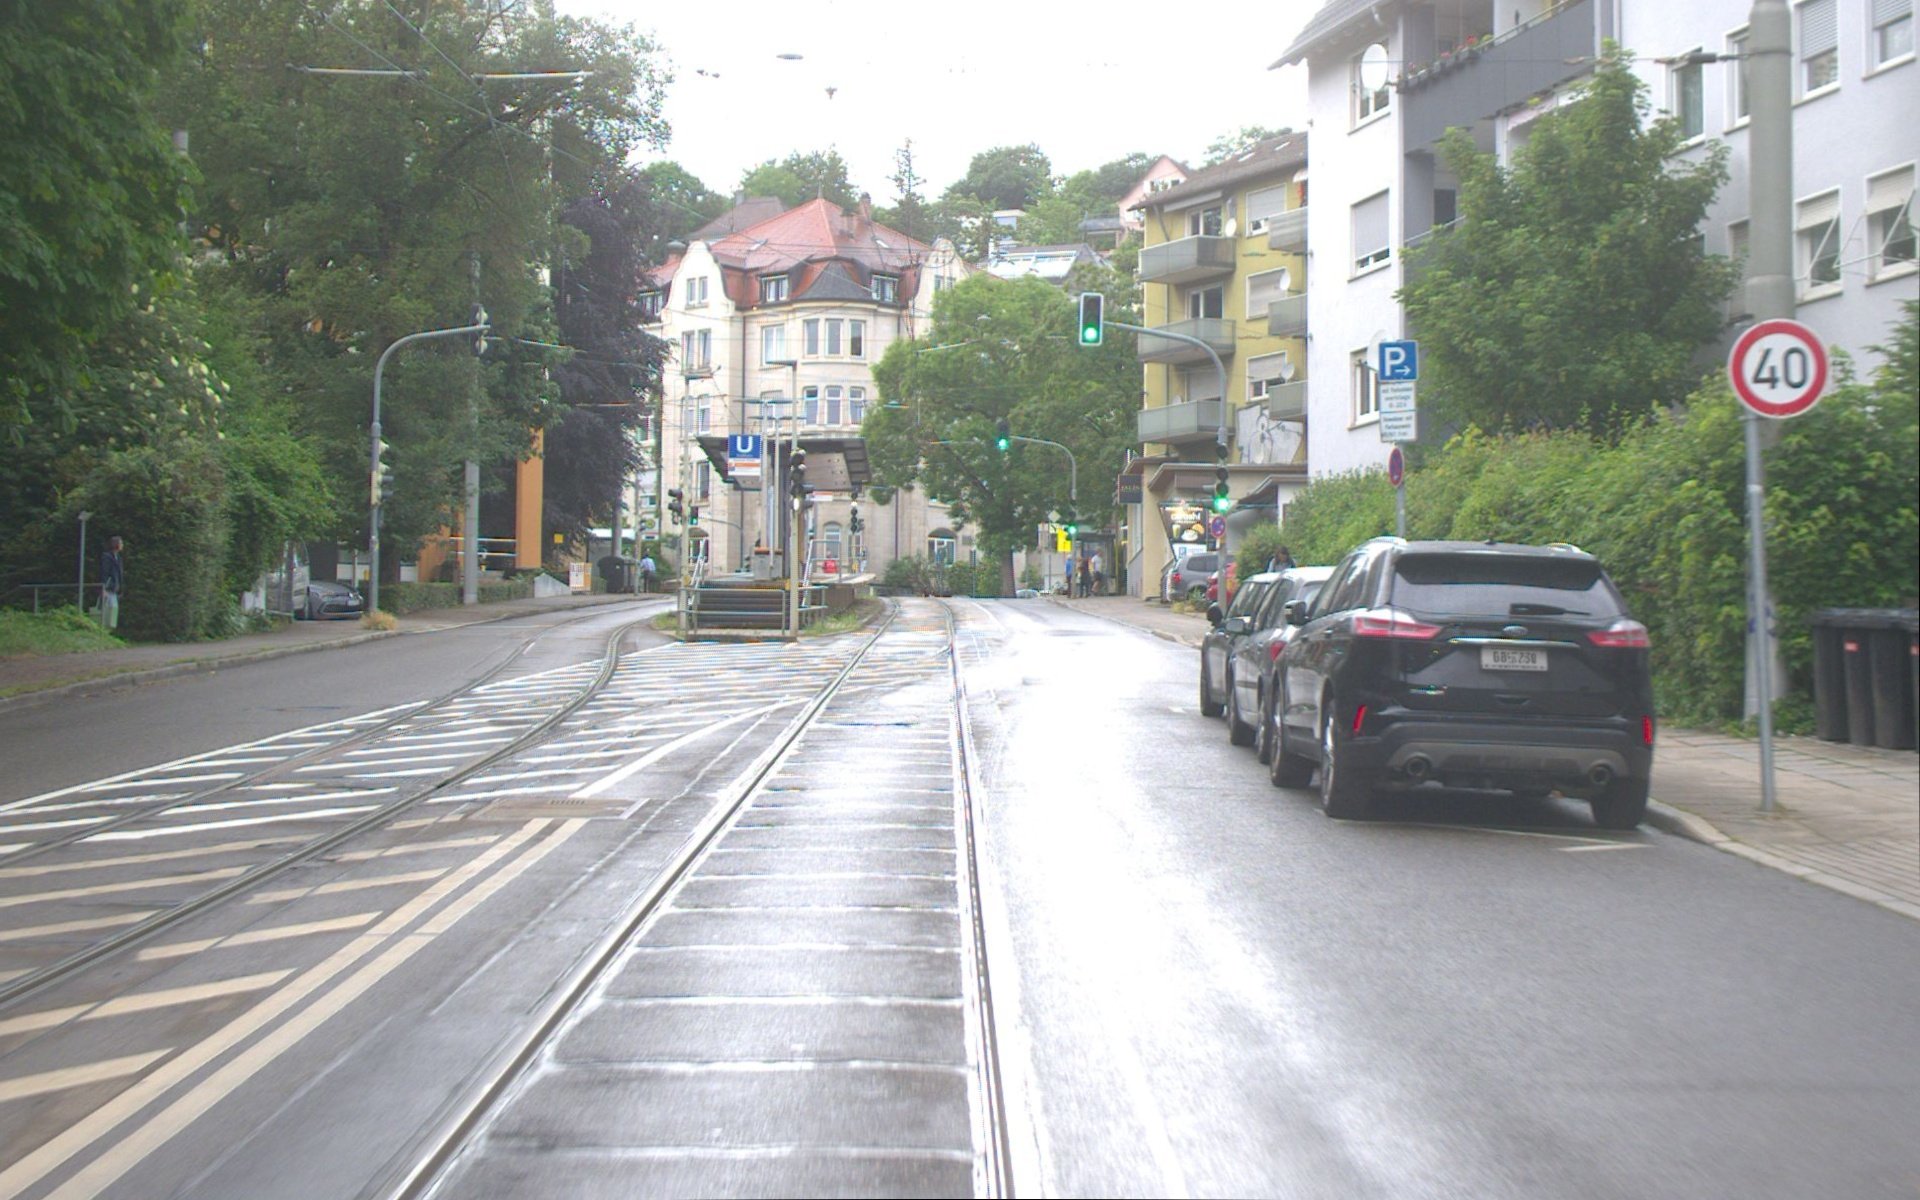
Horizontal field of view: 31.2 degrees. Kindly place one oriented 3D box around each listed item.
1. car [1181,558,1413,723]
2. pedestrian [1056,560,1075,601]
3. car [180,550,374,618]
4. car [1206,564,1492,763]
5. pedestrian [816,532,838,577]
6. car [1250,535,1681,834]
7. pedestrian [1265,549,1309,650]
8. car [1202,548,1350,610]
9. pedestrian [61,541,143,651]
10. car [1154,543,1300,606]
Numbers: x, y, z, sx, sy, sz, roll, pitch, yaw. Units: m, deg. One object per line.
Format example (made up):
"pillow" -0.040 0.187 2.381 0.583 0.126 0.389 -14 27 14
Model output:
"car" 3.150 0.359 32.802 1.704 1.421 3.862 2 0 -1
"pedestrian" 3.842 -0.710 124.978 0.578 1.462 0.544 2 -3 -8
"car" -15.409 -0.346 77.544 3.991 1.401 1.680 0 -4 23
"car" 3.055 0.465 27.780 1.704 1.423 4.250 2 0 -1
"pedestrian" -4.593 -1.571 118.750 0.657 1.462 0.772 1 -3 2
"car" 3.075 0.470 21.902 1.906 1.636 4.689 2 0 -1
"pedestrian" 5.303 -0.006 55.746 0.644 1.623 0.699 1 -1 3
"car" 8.699 -0.561 94.813 3.841 1.537 1.807 2 -2 -2
"pedestrian" -13.410 -0.064 53.753 0.916 1.672 0.740 0 -4 19
"car" 7.633 -0.710 98.547 3.987 1.640 1.807 2 -2 -1
